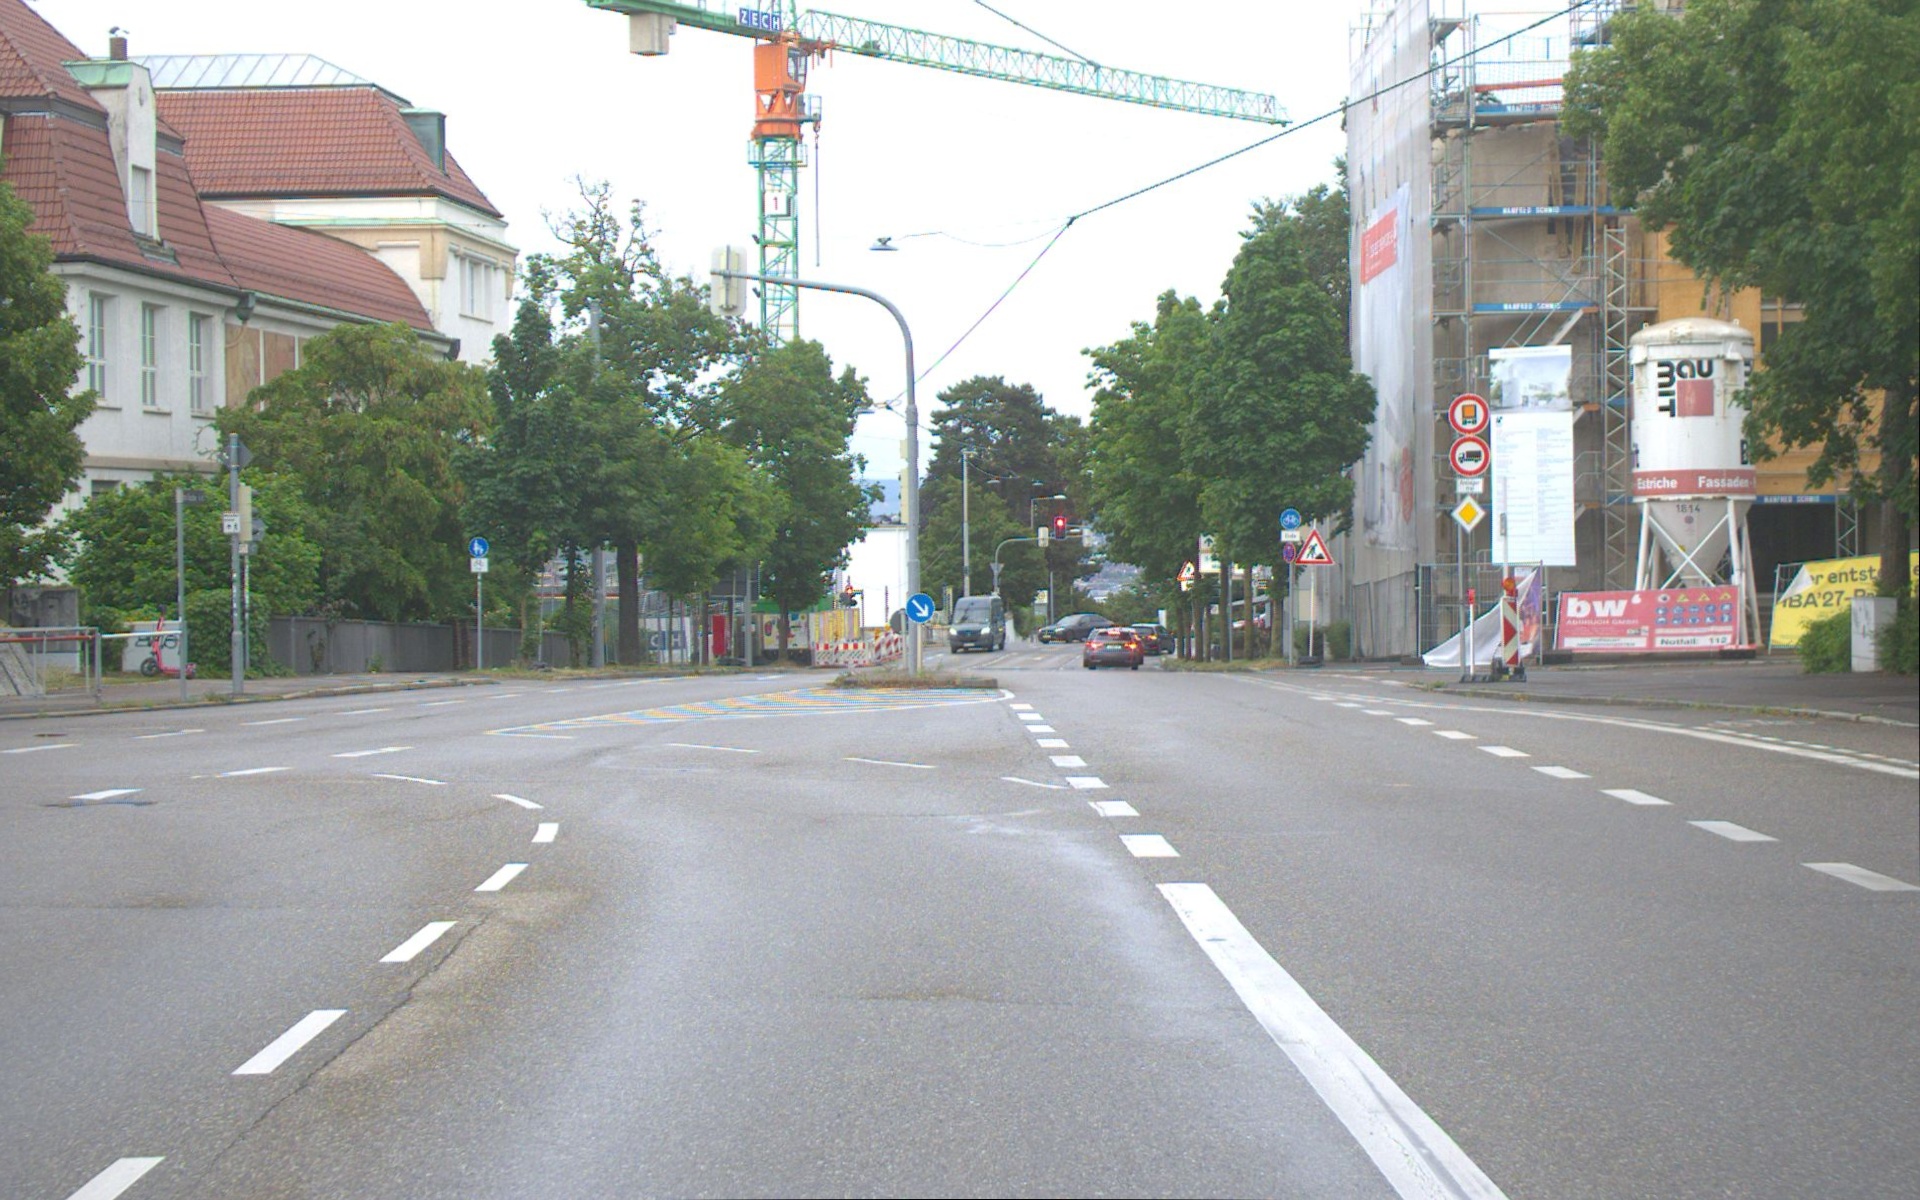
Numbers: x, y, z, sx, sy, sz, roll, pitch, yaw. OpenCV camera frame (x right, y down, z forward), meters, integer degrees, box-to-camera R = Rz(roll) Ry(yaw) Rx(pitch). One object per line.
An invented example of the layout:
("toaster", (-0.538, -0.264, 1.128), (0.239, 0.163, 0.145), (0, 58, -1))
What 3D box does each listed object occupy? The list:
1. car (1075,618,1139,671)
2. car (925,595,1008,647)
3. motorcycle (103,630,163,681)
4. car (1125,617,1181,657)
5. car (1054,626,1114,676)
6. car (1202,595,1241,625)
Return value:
("car", (5.160, 1.541, 121.058), (1.993, 1.744, 4.000), (-1, 1, -1))
("car", (0.340, 0.962, 163.658), (2.849, 2.394, 6.185), (0, 0, 10))
("motorcycle", (-14.629, 0.972, 60.815), (0.849, 0.874, 0.877), (0, 0, 0))
("car", (9.136, 1.726, 162.435), (1.994, 1.744, 3.998), (-1, 1, 13))
("car", (4.603, 1.878, 127.976), (1.993, 1.744, 4.000), (-1, 1, -1))
("car", (16.354, 0.631, 215.104), (1.994, 1.744, 3.998), (-1, 1, 11))
